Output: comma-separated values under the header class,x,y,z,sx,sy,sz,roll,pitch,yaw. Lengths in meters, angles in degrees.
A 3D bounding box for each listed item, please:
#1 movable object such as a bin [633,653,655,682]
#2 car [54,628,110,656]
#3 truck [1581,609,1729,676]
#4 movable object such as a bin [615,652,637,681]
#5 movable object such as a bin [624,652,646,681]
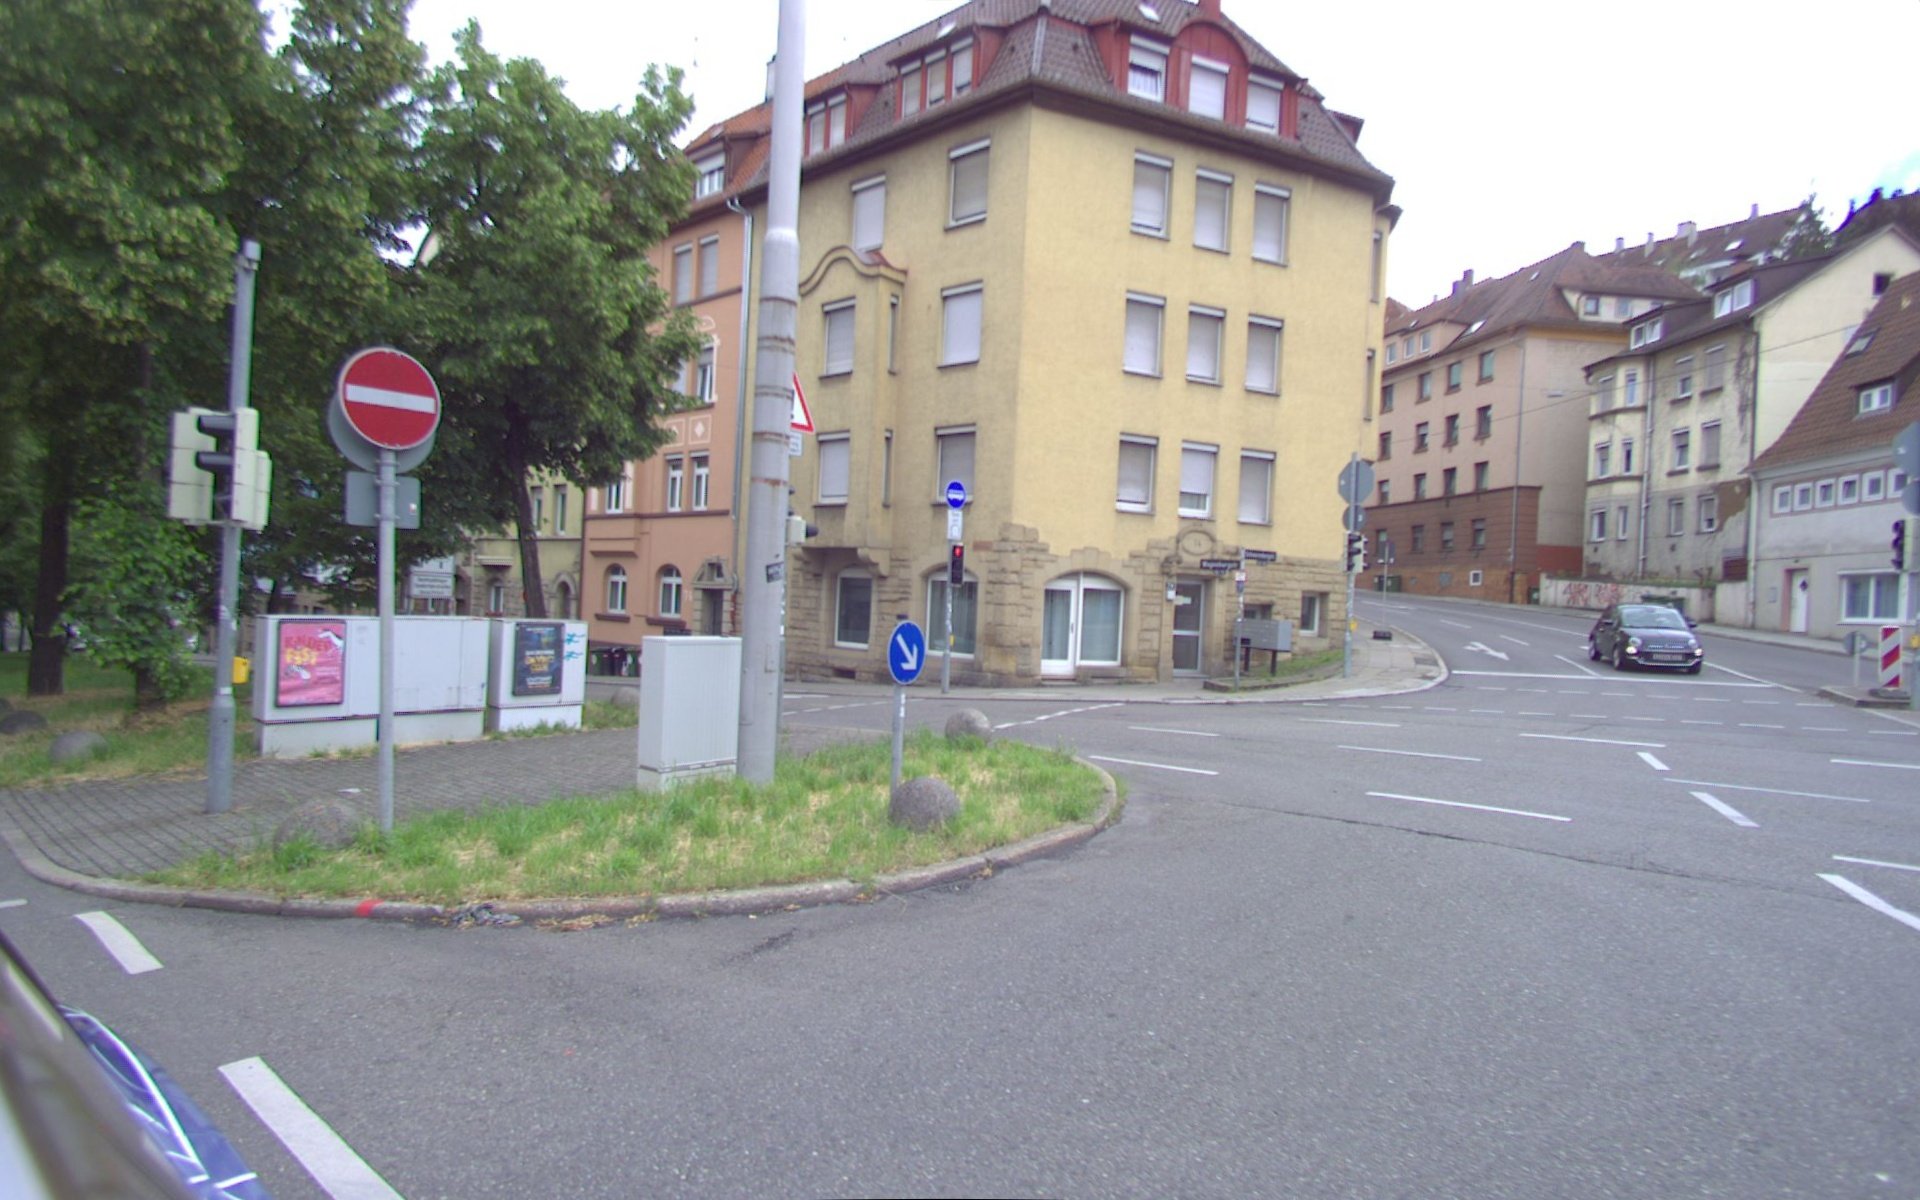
class,x,y,z,sx,sy,sz,roll,pitch,yaw
movable object such as a bin,-9.600,2.050,30.766,0.480,0.871,0.449,4,-4,-43
car,-53.334,2.515,61.457,4.516,1.647,1.917,-1,-2,41
truck,16.065,0.943,23.633,1.838,1.429,3.974,-1,-1,19
movable object such as a bin,-10.472,2.077,31.718,0.480,0.871,0.449,4,-4,-43
movable object such as a bin,-10.042,2.065,31.284,0.480,0.871,0.449,4,-4,-43
